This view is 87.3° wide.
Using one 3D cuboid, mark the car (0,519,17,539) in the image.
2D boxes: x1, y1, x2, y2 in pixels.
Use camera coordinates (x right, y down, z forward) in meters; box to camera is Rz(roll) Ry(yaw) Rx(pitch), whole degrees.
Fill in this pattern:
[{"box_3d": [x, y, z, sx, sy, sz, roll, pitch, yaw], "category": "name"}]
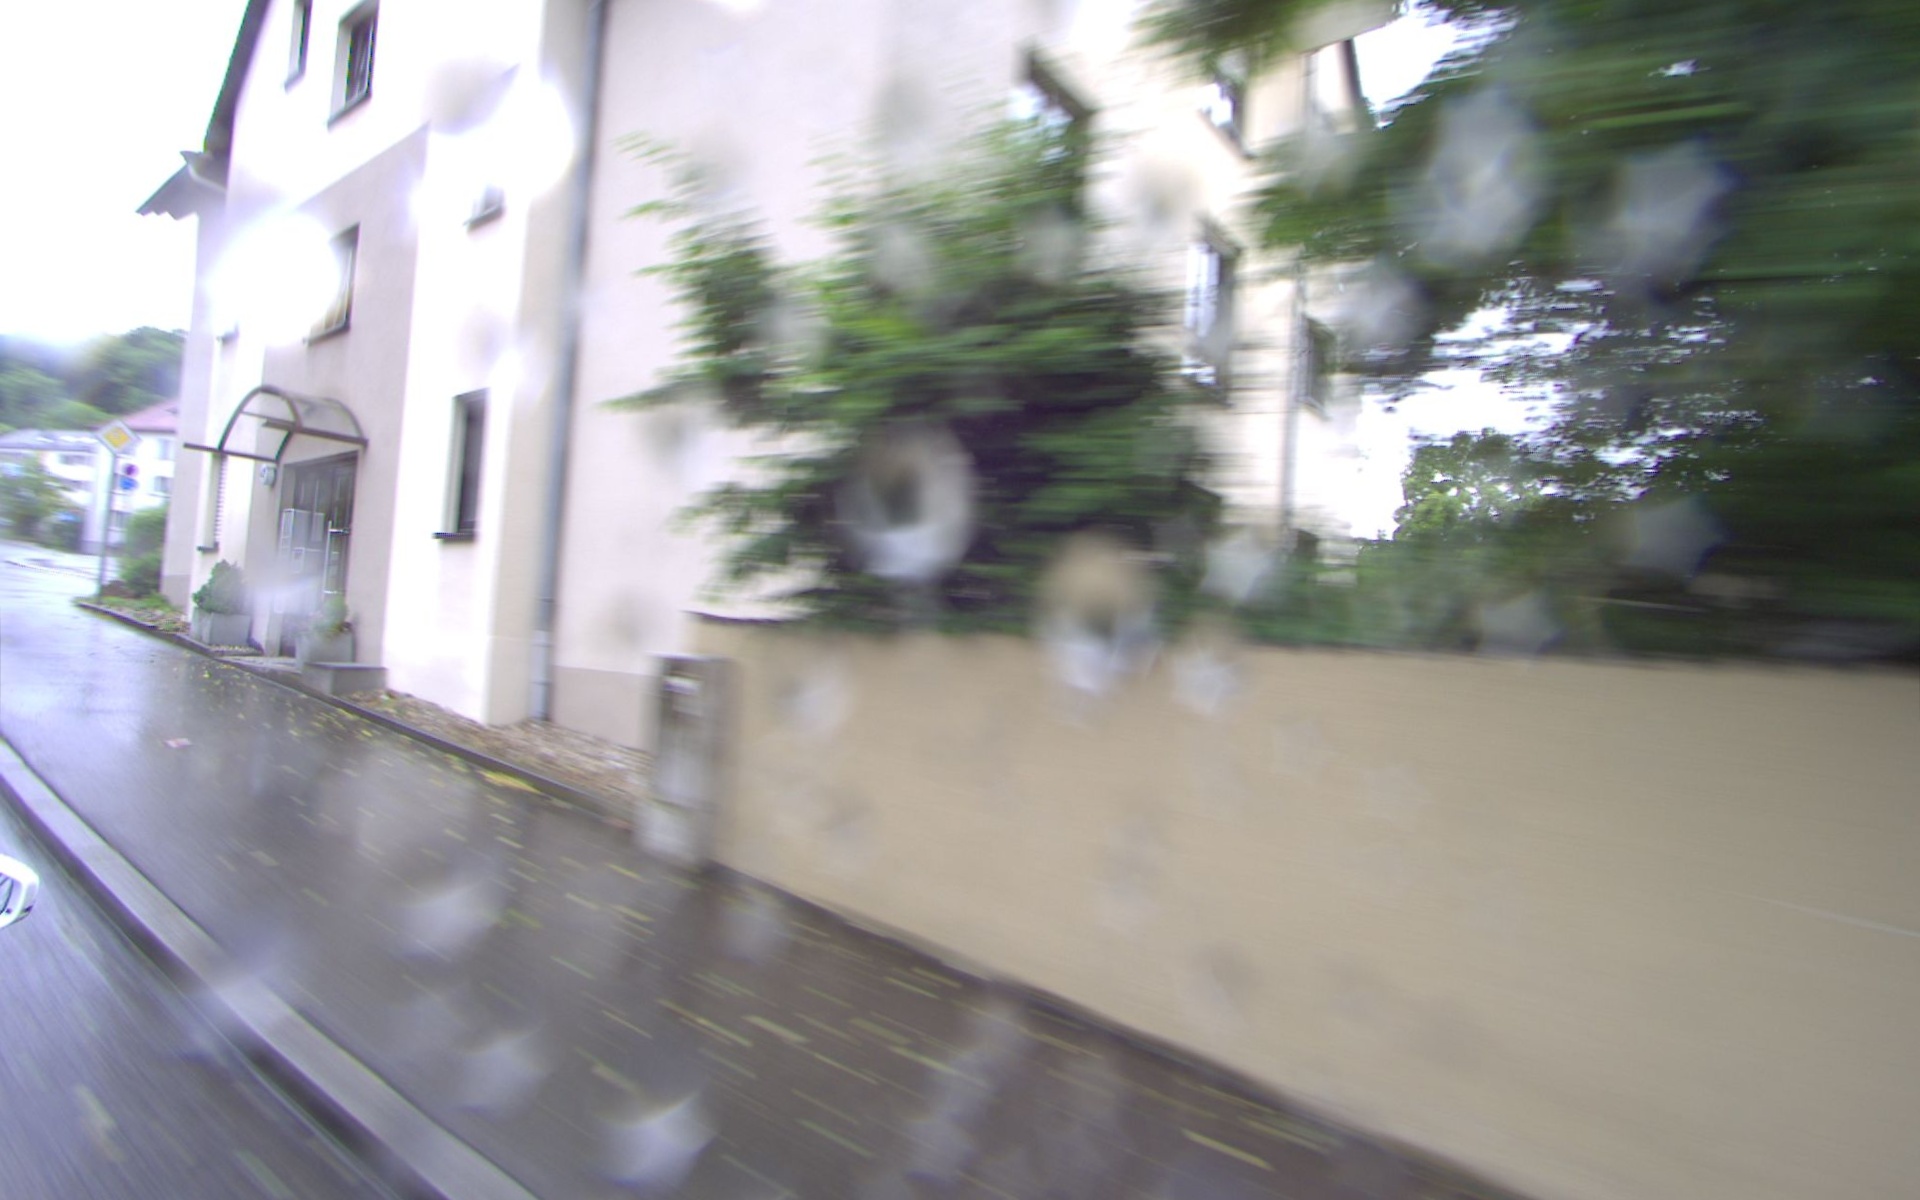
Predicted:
[{"box_3d": [-101.979, -7.715, 105.619, 1.971, 1.790, 3.991, 3, -6, 38], "category": "car"}]
